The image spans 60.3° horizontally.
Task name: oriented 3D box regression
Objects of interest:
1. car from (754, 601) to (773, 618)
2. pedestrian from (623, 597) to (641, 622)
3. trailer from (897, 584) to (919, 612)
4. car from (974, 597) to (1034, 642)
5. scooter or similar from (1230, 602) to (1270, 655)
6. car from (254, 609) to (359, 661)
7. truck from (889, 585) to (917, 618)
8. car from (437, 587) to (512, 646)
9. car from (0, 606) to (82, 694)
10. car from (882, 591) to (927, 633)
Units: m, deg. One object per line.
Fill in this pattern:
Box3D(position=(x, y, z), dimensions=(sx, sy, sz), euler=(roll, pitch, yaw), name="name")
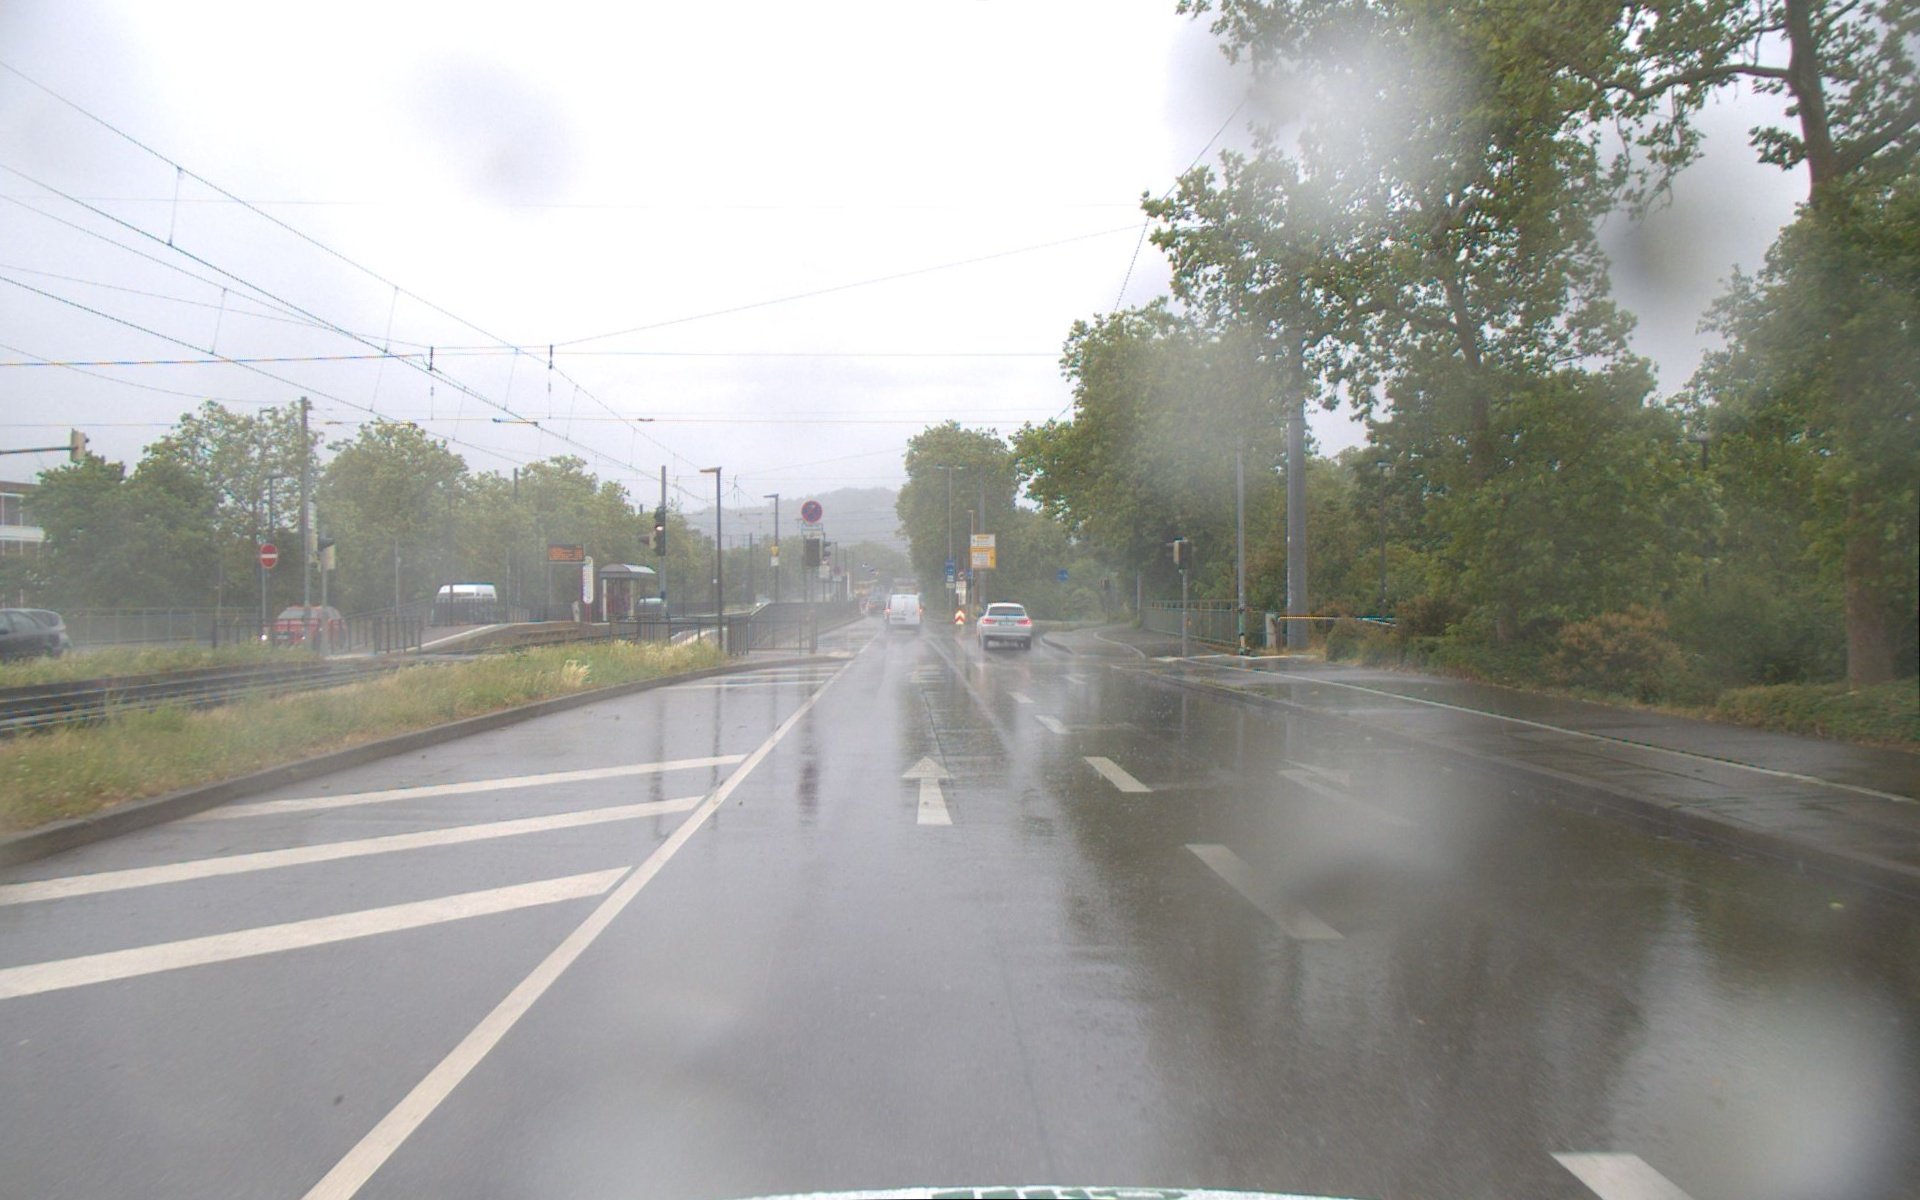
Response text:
Box3D(position=(-24.442, 1.219, 206.120), dimensions=(1.953, 2.049, 3.999), euler=(0, 0, -1), name="car")
Box3D(position=(-17.982, 0.496, 90.597), dimensions=(0.814, 1.339, 0.858), euler=(1, 0, -2), name="pedestrian")
Box3D(position=(-5.231, -0.159, 167.256), dimensions=(2.121, 2.806, 5.676), euler=(0, 0, 0), name="trailer")
Box3D(position=(1.445, 0.632, 56.108), dimensions=(1.850, 1.456, 3.999), euler=(0, 0, -1), name="car")
Box3D(position=(7.412, 0.723, 42.339), dimensions=(0.743, 1.315, 1.647), euler=(0, -1, 1), name="scooter or similar")
Box3D(position=(-22.918, 1.204, 58.211), dimensions=(1.953, 1.736, 4.623), euler=(0, 0, -2), name="car")
Box3D(position=(-6.851, 0.213, 198.435), dimensions=(2.722, 3.769, 9.839), euler=(0, 0, -6), name="truck")
Box3D(position=(-23.512, 0.768, 80.316), dimensions=(2.077, 2.760, 5.736), euler=(0, 0, -2), name="car")
Box3D(position=(-19.000, 1.024, 31.732), dimensions=(1.954, 1.623, 4.380), euler=(-4, 0, -1), name="car")
Box3D(position=(-2.569, 0.526, 76.946), dimensions=(1.953, 1.881, 4.000), euler=(0, 0, 0), name="car")
